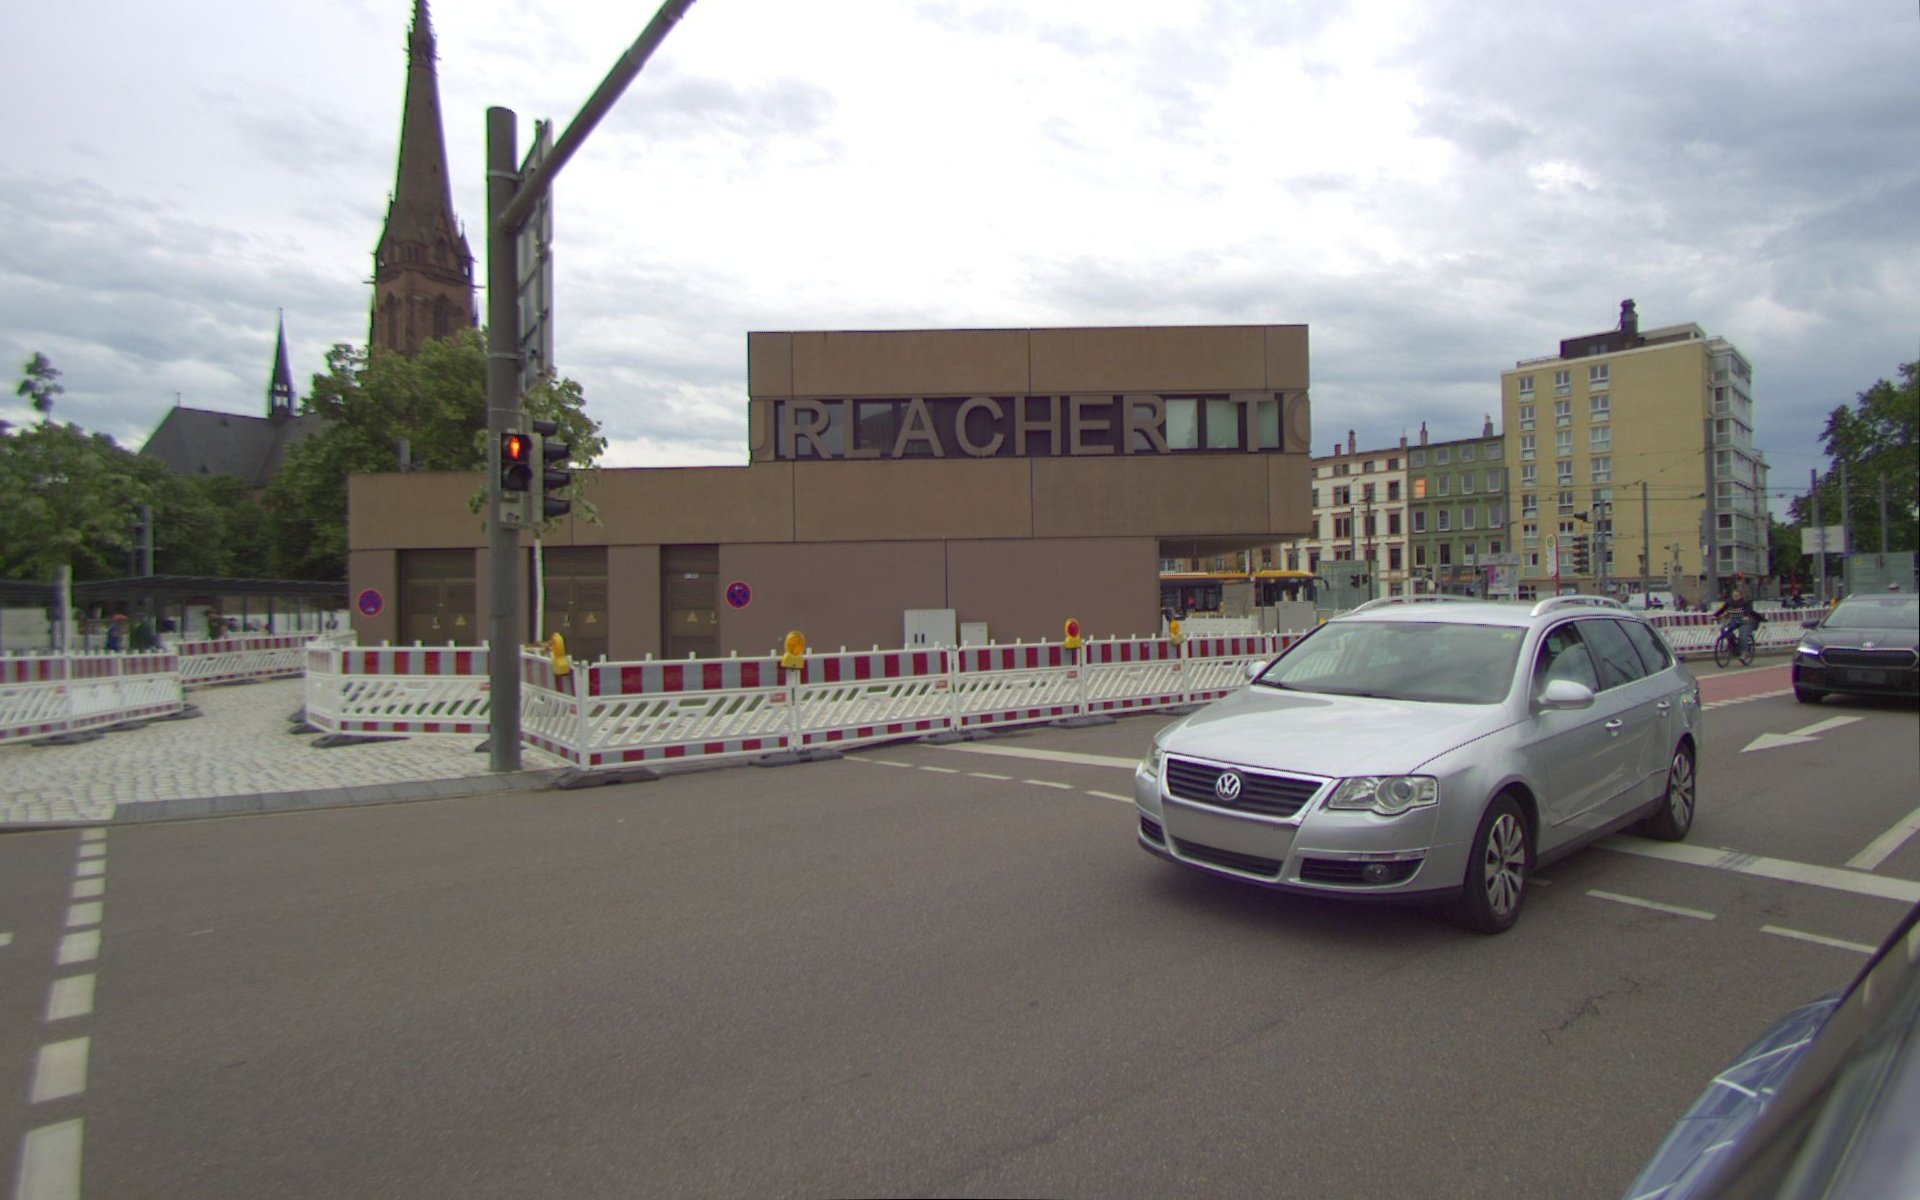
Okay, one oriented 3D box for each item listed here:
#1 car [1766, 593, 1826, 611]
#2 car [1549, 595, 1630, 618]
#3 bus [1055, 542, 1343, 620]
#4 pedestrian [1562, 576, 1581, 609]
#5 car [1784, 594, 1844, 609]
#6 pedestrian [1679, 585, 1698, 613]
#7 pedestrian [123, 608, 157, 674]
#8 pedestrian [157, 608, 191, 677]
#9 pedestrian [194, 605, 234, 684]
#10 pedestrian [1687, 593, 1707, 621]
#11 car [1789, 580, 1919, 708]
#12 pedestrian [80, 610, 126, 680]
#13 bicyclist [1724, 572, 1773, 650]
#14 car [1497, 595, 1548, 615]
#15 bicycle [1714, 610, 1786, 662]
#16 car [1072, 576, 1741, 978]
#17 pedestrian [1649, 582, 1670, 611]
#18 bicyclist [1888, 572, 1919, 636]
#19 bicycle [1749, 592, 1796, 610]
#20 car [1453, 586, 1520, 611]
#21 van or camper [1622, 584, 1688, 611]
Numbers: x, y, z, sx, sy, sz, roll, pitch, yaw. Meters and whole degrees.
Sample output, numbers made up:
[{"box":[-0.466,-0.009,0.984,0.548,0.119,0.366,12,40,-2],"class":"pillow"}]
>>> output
[{"box":[72.371,0.162,87.667,3.980,1.483,1.972,-1,-1,40],"class":"car"},{"box":[43.753,0.440,70.403,1.965,1.505,4.438,-1,0,-41],"class":"car"},{"box":[11.044,-0.853,47.875,12.799,3.310,3.025,-1,-1,2],"class":"bus"},{"box":[36.160,-0.459,59.831,0.776,1.936,0.897,-1,-1,23],"class":"pedestrian"},{"box":[76.515,0.112,90.747,3.978,1.352,1.812,0,0,38],"class":"car"},{"box":[46.716,-0.092,64.910,0.780,1.779,1.040,-1,0,25],"class":"pedestrian"},{"box":[-21.753,1.071,26.858,0.588,1.710,0.604,0,-1,-26],"class":"pedestrian"},{"box":[-21.061,1.122,27.117,0.585,1.828,0.642,0,-1,-26],"class":"pedestrian"},{"box":[-17.763,1.047,24.103,0.634,1.855,0.457,-1,-1,0],"class":"pedestrian"},{"box":[44.679,0.423,61.370,0.760,1.632,0.944,-1,-1,23],"class":"pedestrian"},{"box":[14.120,0.552,14.993,4.432,1.679,1.908,-1,1,-38],"class":"car"},{"box":[-22.506,1.174,26.595,0.749,1.784,0.699,0,-1,-25],"class":"pedestrian"},{"box":[17.620,0.242,22.622,0.790,1.712,0.617,0,-1,-34],"class":"bicyclist"},{"box":[47.499,0.456,85.528,1.853,1.602,3.743,-1,0,-8],"class":"car"},{"box":[17.674,0.791,22.634,2.085,1.068,0.627,-1,-1,-34],"class":"bicycle"},{"box":[2.860,0.636,5.905,4.546,1.501,1.724,-1,0,-39],"class":"car"},{"box":[40.033,-0.187,57.950,0.776,1.664,0.897,-1,-1,23],"class":"pedestrian"},{"box":[24.817,0.106,26.151,0.913,1.639,0.792,-1,-2,-16],"class":"bicyclist"},{"box":[65.038,0.062,81.039,0.888,1.395,2.779,0,-1,-41],"class":"bicycle"},{"box":[39.453,-0.111,75.857,1.965,1.772,3.993,-1,0,-41],"class":"car"},{"box":[54.716,-0.201,79.857,2.137,2.004,5.451,-1,0,10],"class":"van or camper"}]
